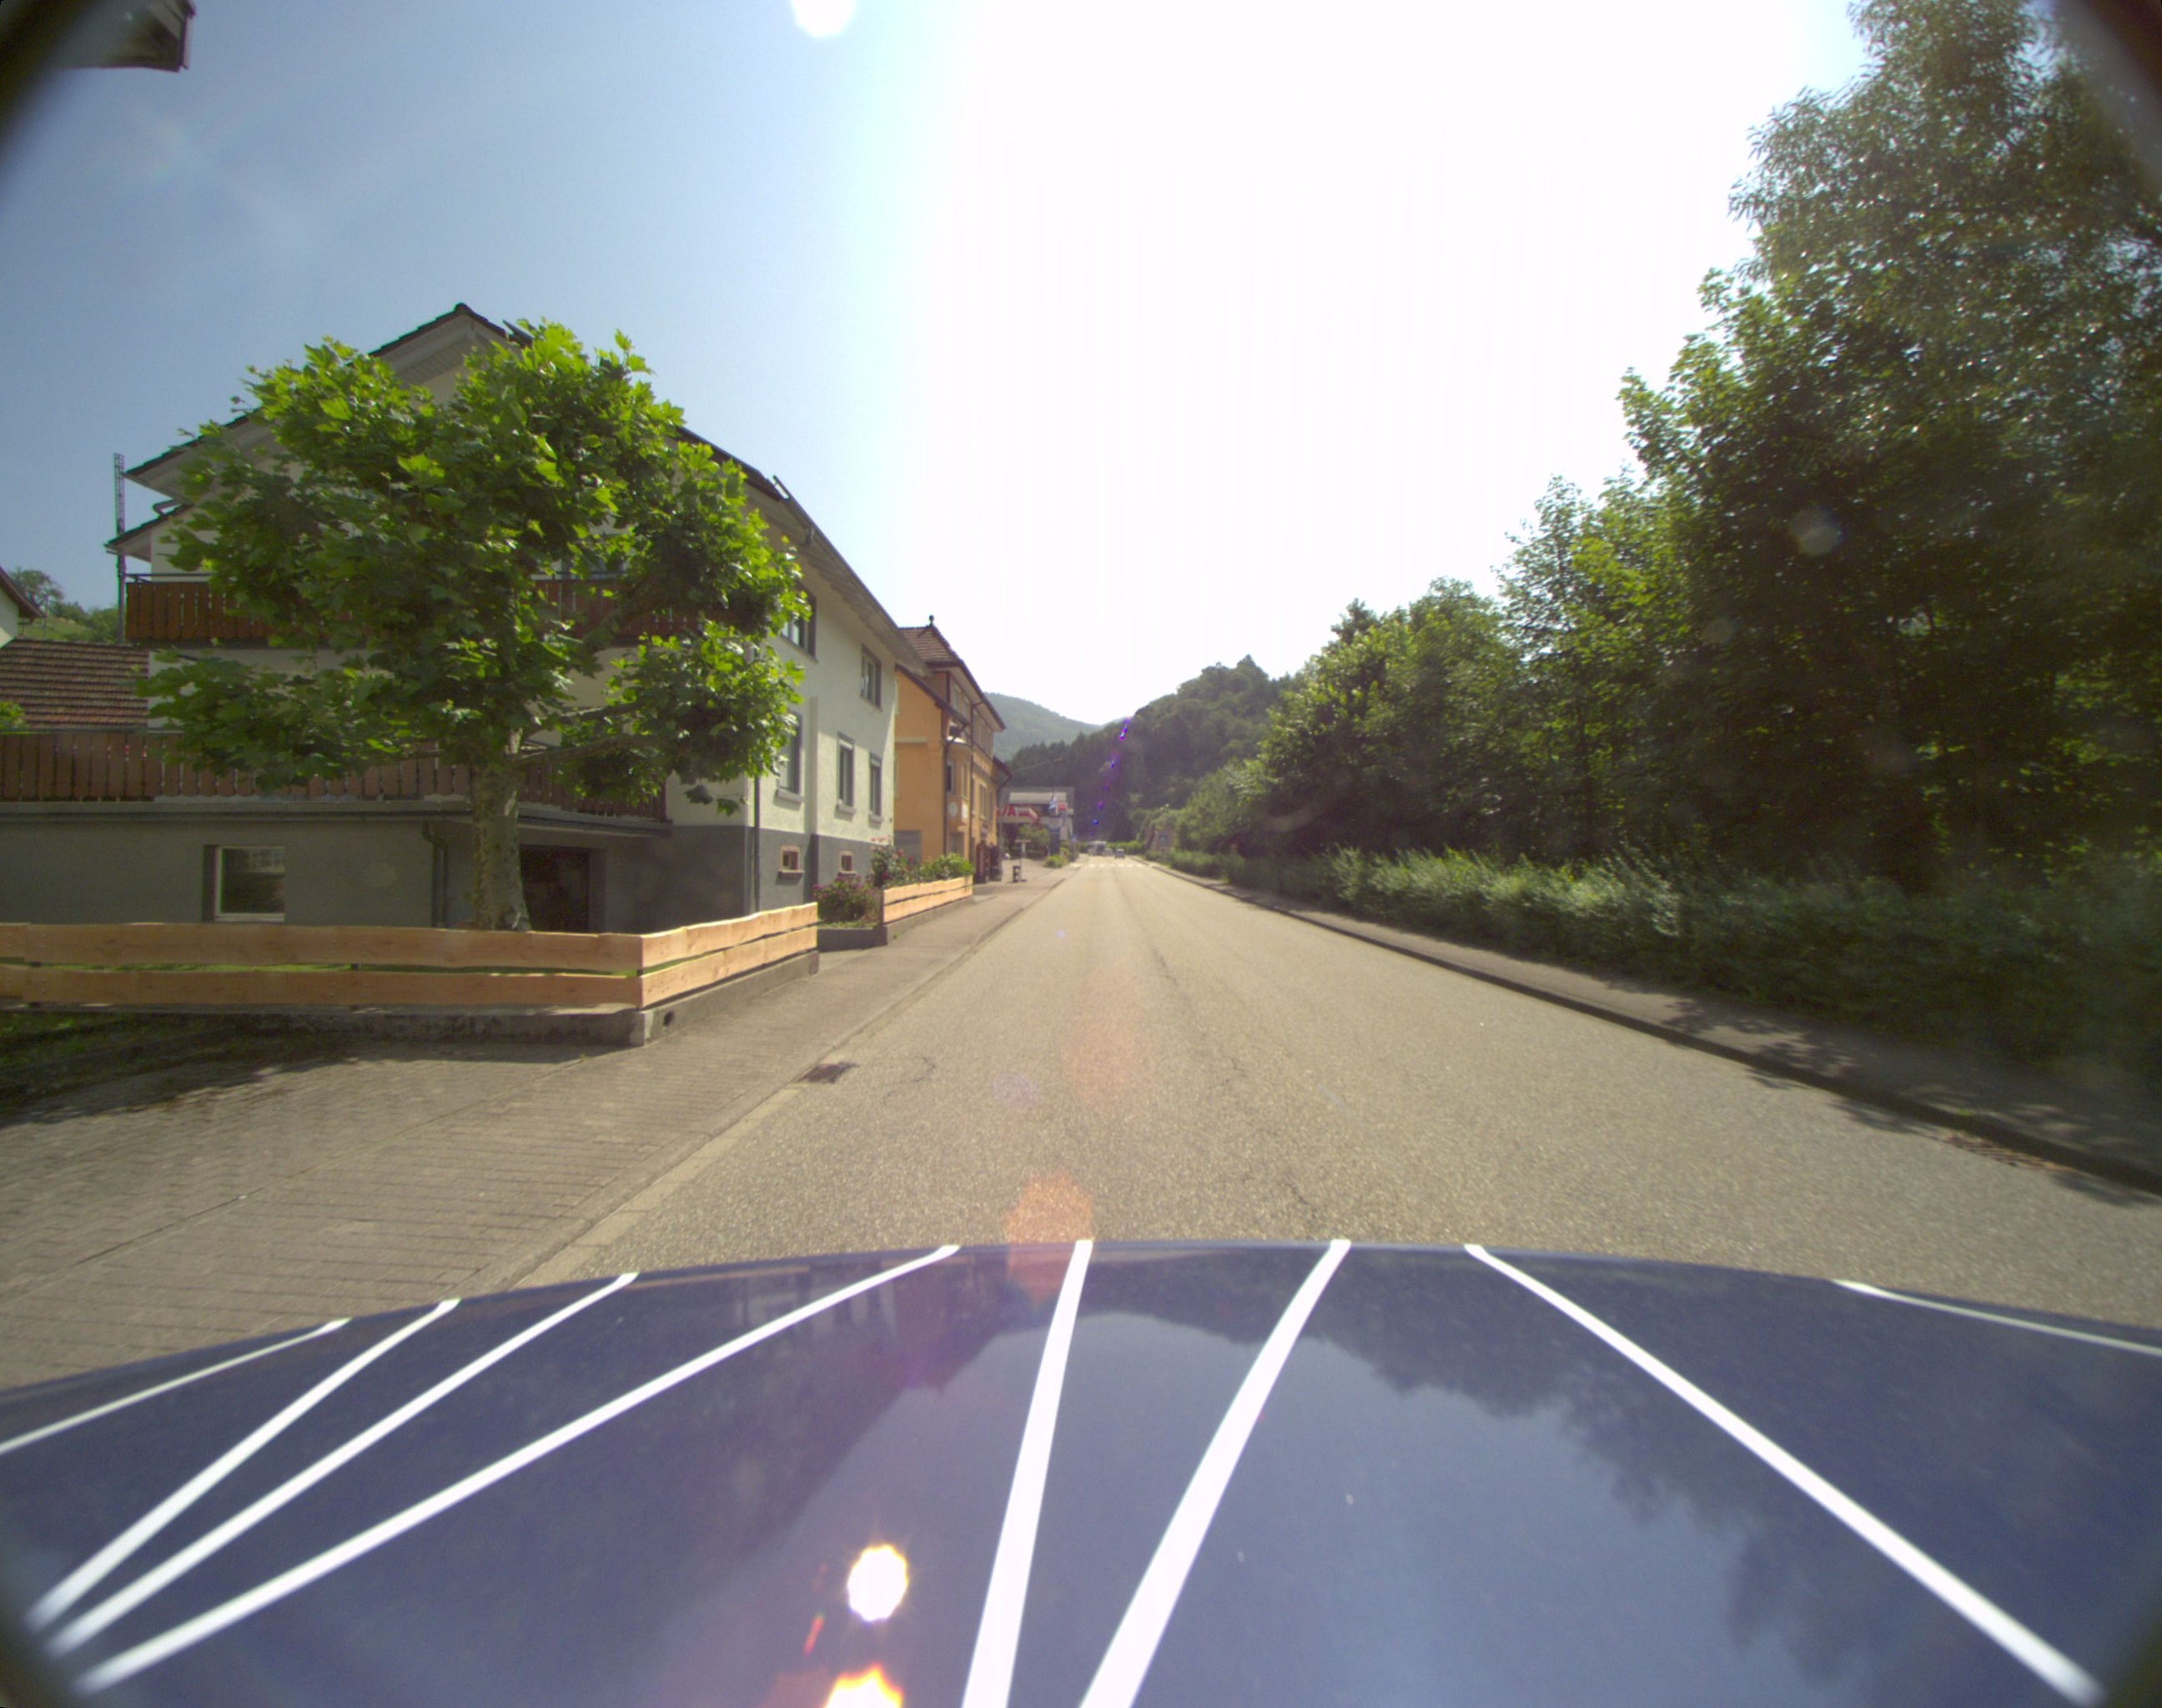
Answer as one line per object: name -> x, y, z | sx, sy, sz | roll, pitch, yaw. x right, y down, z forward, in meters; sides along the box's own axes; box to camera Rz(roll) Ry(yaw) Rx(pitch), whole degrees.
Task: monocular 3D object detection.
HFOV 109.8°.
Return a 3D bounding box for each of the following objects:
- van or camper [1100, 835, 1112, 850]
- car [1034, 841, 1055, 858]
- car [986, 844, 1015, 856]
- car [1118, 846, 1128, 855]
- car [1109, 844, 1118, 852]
van or camper -> 5.160, -2.279, 155.341 | 2.364, 2.936, 8.051 | 2, 1, 2
car -> -3.717, -0.516, 78.442 | 1.696, 1.568, 3.911 | 4, 1, 3
car -> -9.336, -0.426, 88.075 | 3.080, 1.138, 1.335 | 4, 2, 1
car -> 6.896, -0.590, 124.458 | 1.594, 1.474, 3.757 | 2, 1, 4
car -> 6.047, -1.174, 142.193 | 1.608, 1.398, 3.827 | 3, 1, 2
